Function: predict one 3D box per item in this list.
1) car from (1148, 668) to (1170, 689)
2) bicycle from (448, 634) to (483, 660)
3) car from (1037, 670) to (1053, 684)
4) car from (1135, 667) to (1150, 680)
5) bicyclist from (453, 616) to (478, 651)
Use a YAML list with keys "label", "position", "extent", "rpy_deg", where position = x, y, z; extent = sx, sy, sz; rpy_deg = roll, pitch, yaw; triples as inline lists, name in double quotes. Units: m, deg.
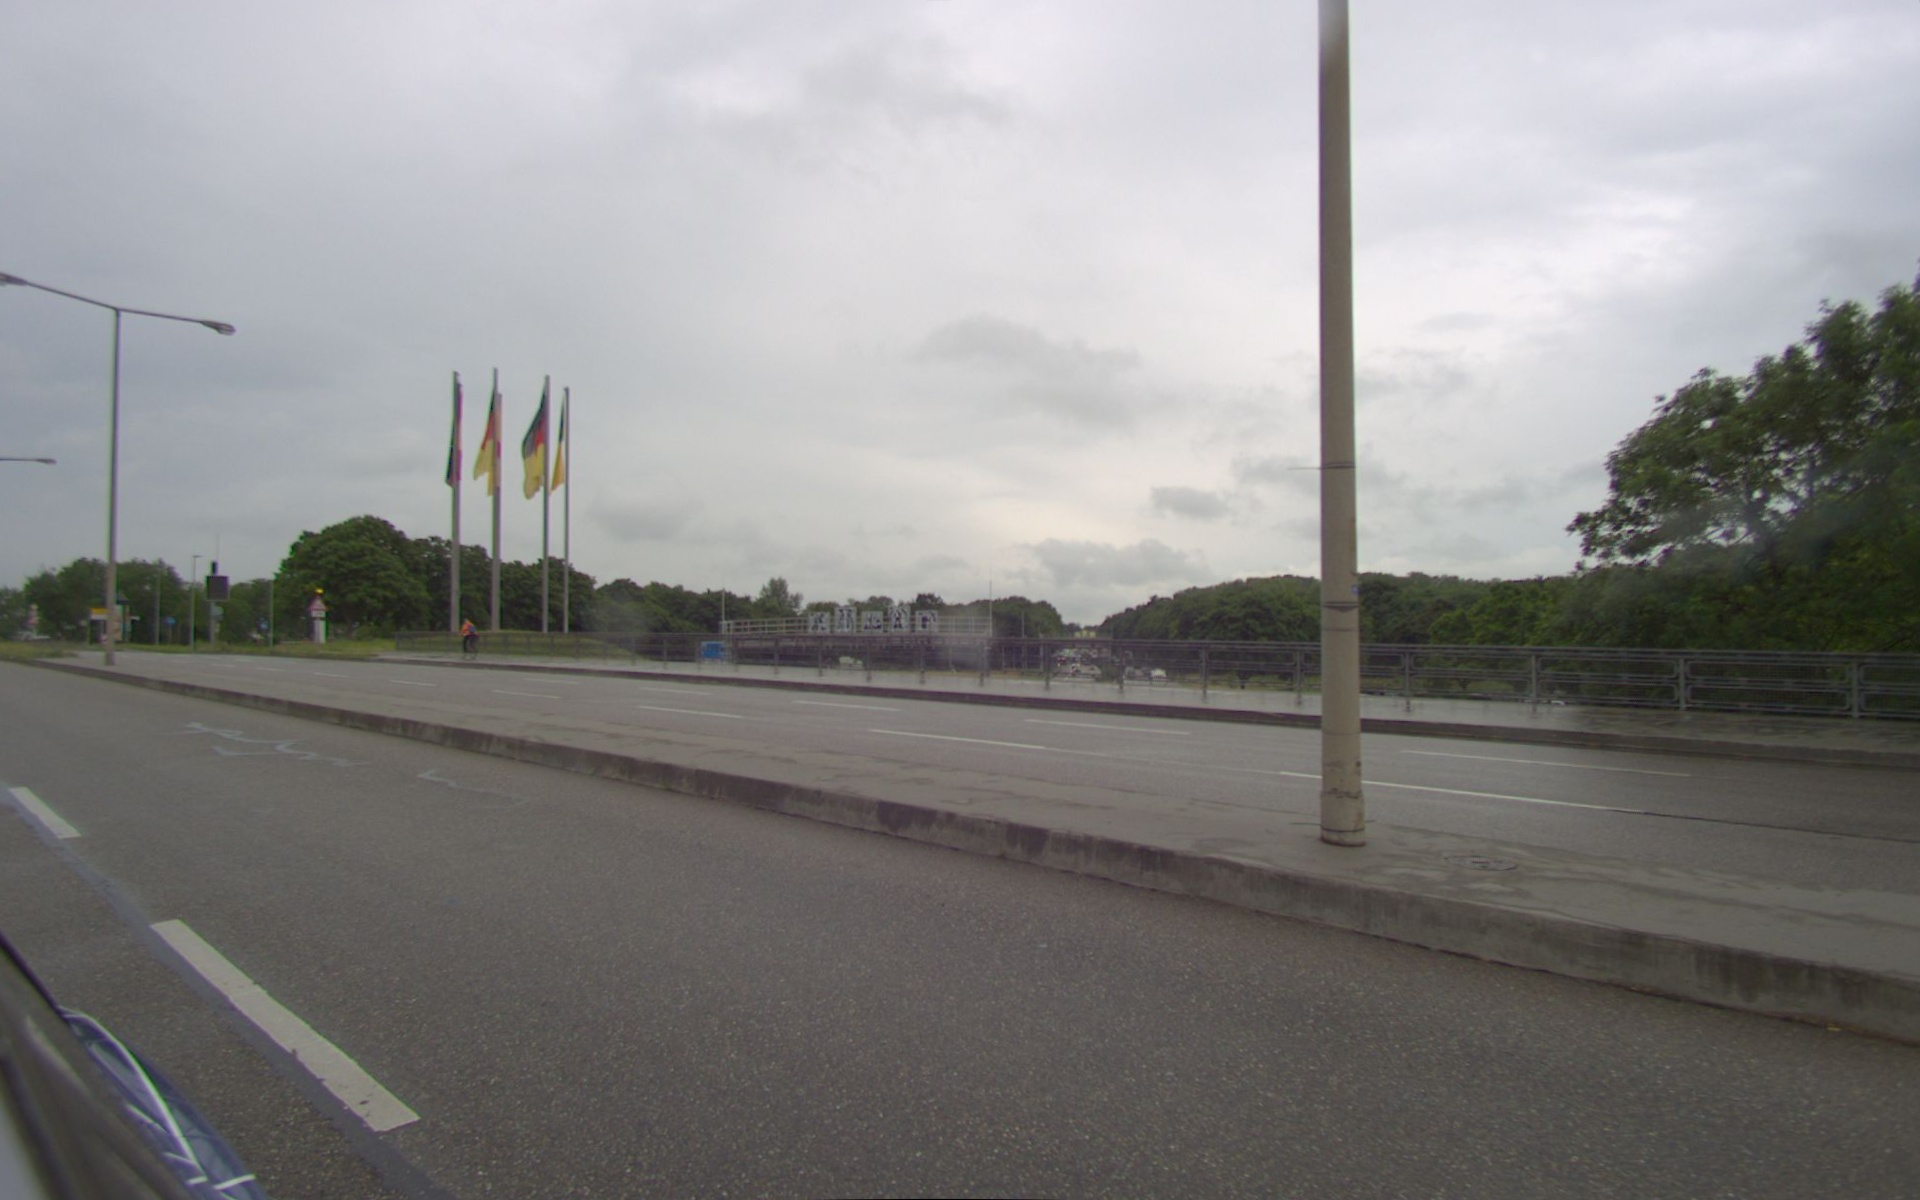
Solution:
- label: "car"
  position: [28.957, 11.412, 147.106]
  extent: [2.711, 2.792, 5.780]
  rpy_deg: [-2, -2, 16]
- label: "bicycle"
  position: [-21.276, 2.001, 43.549]
  extent: [2.000, 1.041, 0.603]
  rpy_deg: [-1, 0, 41]
- label: "car"
  position: [18.027, 16.339, 214.517]
  extent: [2.708, 2.552, 5.787]
  rpy_deg: [-2, -2, 12]
- label: "car"
  position: [38.986, 15.707, 216.111]
  extent: [2.708, 2.552, 5.787]
  rpy_deg: [-2, -2, 12]
- label: "bicyclist"
  position: [-21.281, 1.430, 43.552]
  extent: [1.002, 1.511, 0.613]
  rpy_deg: [-1, 0, 41]
